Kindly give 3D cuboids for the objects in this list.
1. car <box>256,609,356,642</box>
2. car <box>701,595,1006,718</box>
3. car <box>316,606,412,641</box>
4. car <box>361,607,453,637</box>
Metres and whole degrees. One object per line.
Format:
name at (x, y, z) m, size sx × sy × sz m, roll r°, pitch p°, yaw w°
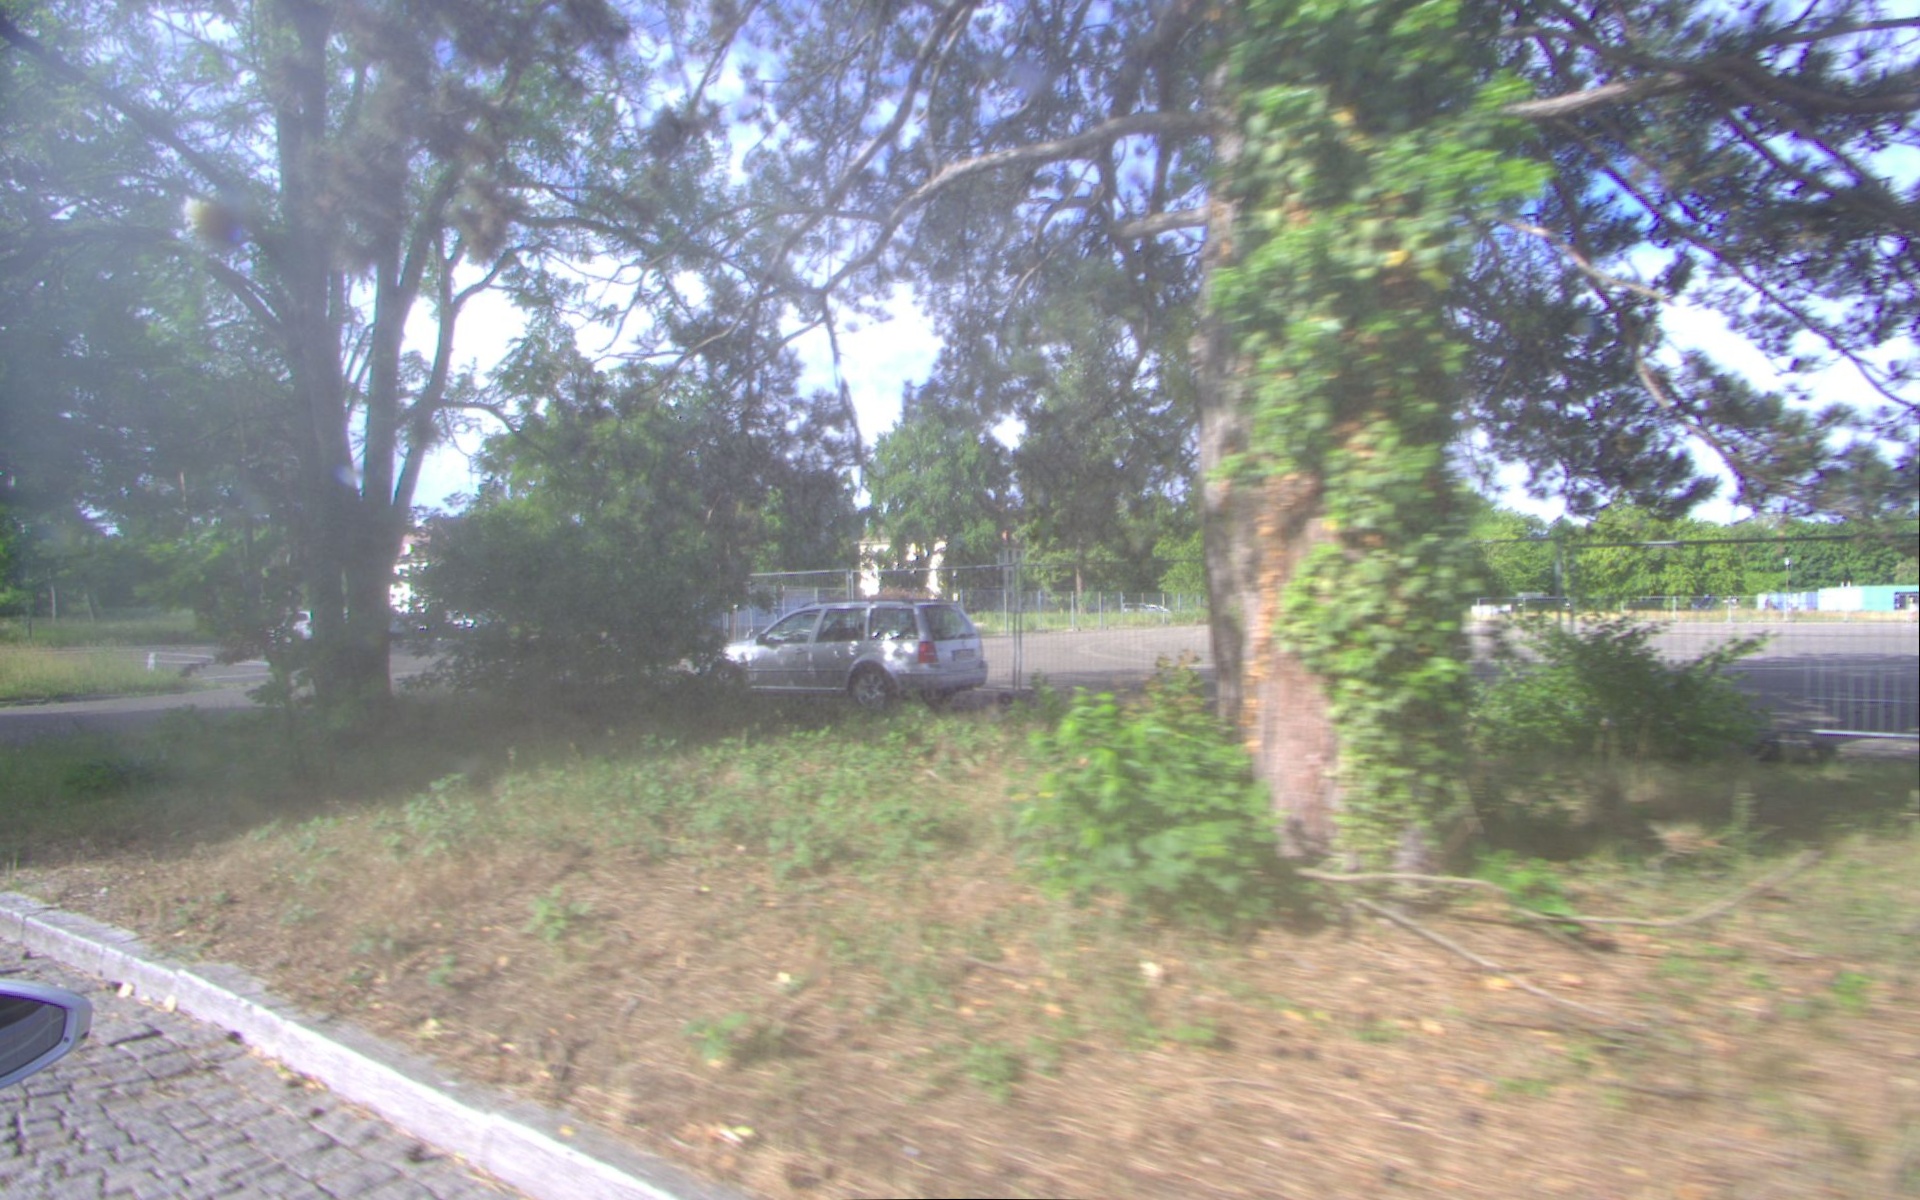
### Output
car at (-27.538, 1.048, 42.148) m, size 4.265 × 1.329 × 1.729 m, roll 0°, pitch 0°, yaw 29°
car at (-1.498, 0.698, 13.753) m, size 3.939 × 1.487 × 1.665 m, roll 0°, pitch 0°, yaw 29°
car at (-26.469, 1.029, 44.452) m, size 4.265 × 1.496 × 1.729 m, roll -1°, pitch 0°, yaw 29°
car at (-25.654, 0.988, 46.450) m, size 4.265 × 1.329 × 1.729 m, roll 0°, pitch 0°, yaw 29°
